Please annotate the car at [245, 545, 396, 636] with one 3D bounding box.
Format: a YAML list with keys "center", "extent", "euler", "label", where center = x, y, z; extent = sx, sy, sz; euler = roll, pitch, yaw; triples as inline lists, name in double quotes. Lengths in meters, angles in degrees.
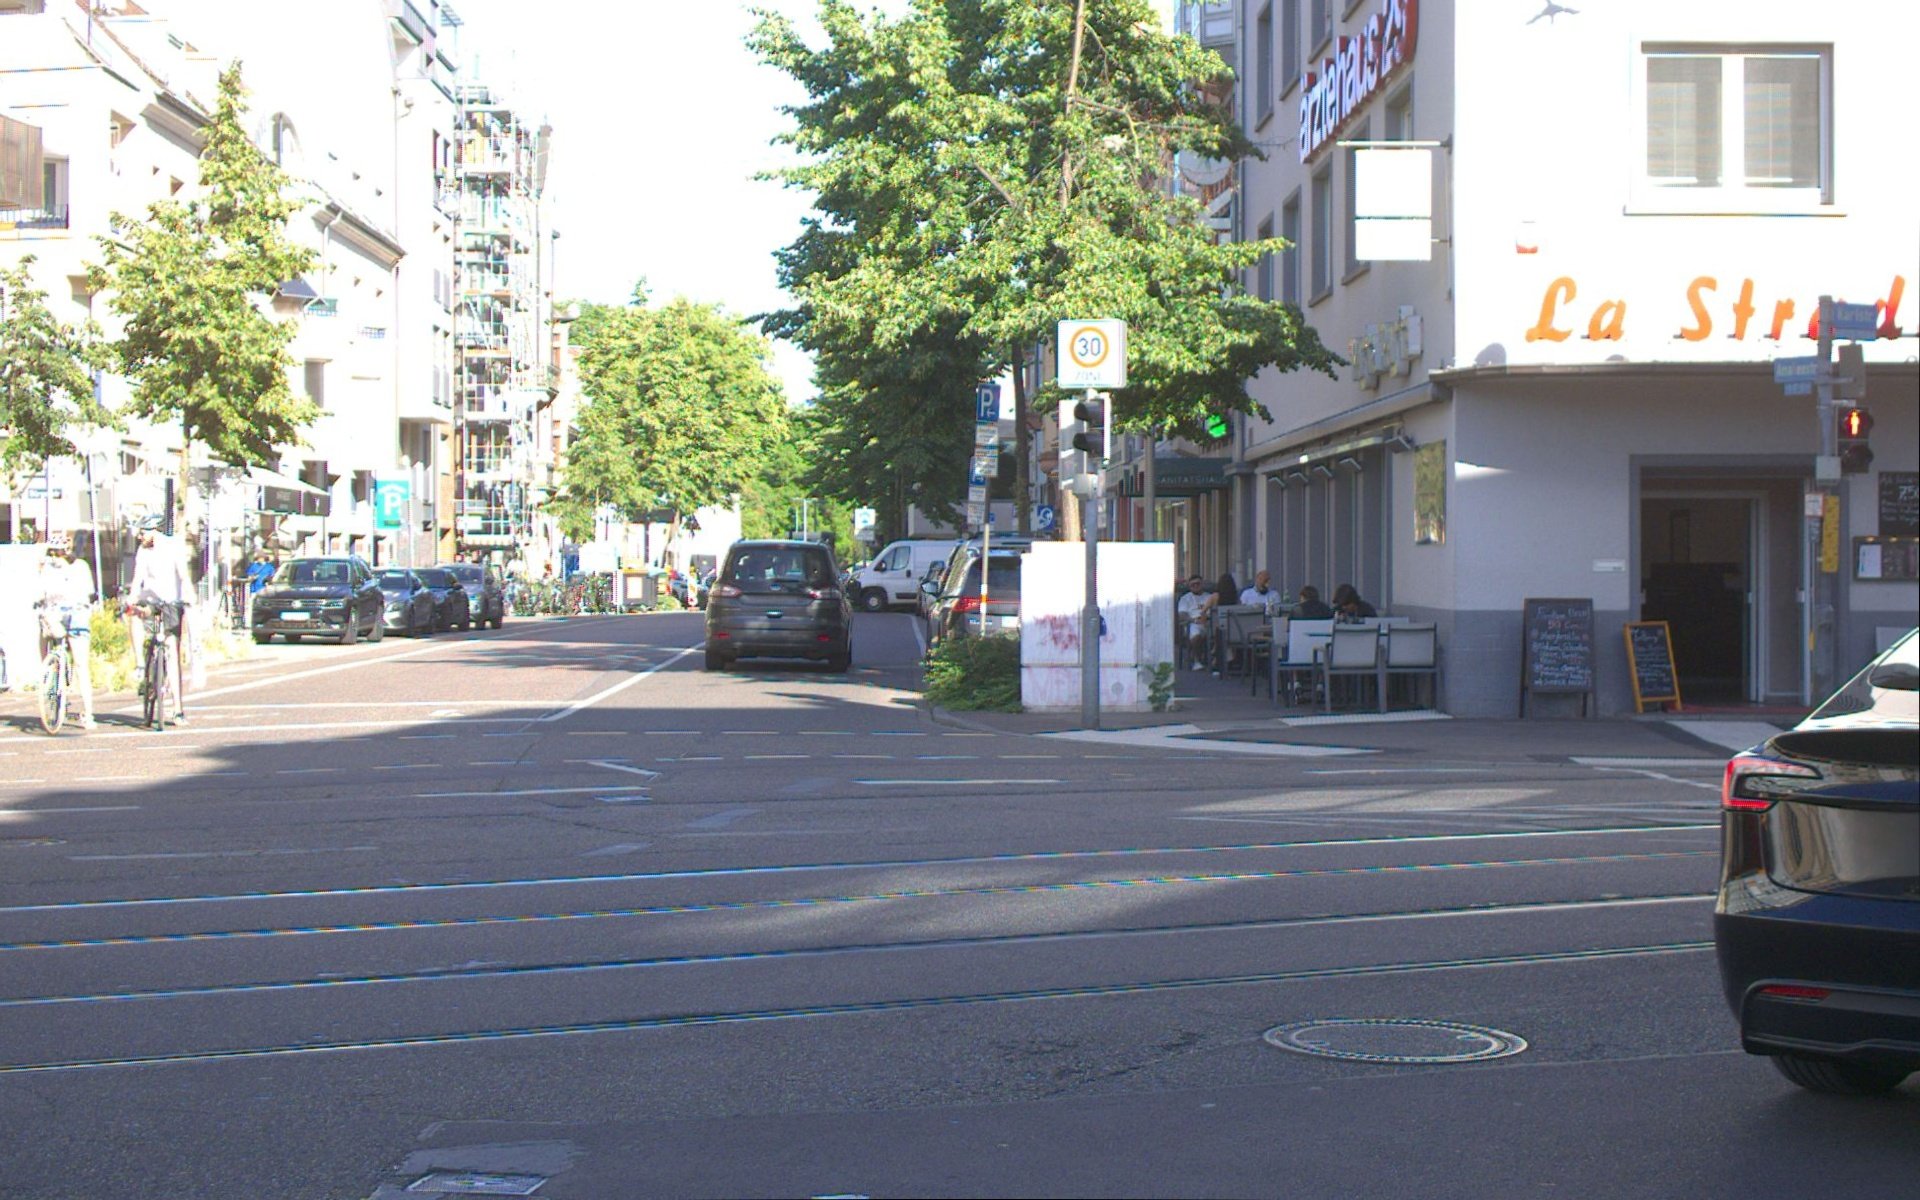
- center: [-11.794, -0.193, 63.624]
  extent: [1.993, 1.592, 4.000]
  euler: [1, 1, 1]
  label: "car"

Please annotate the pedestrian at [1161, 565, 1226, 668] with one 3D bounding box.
- center: [3.087, 0.212, 45.489]
  extent: [0.709, 1.343, 1.060]
  euler: [0, 1, -4]
  label: "pedestrian"

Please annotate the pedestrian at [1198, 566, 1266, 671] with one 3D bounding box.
- center: [3.507, 0.231, 44.383]
  extent: [0.730, 1.343, 1.060]
  euler: [0, 1, -3]
  label: "pedestrian"

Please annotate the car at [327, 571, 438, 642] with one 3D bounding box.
- center: [-11.962, 0.111, 71.389]
  extent: [1.786, 1.398, 3.906]
  euler: [1, 1, -3]
  label: "car"

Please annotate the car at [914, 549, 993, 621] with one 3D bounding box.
- center: [-0.178, -0.409, 90.628]
  extent: [1.993, 1.818, 4.000]
  euler: [1, 1, 0]
  label: "car"

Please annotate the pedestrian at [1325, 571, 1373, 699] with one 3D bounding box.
- center: [4.041, 0.358, 35.670]
  extent: [0.488, 1.317, 0.653]
  euler: [0, 0, 7]
  label: "pedestrian"

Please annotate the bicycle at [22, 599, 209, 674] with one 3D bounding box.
- center: [-11.260, 0.484, 45.894]
  extent: [2.388, 0.974, 0.656]
  euler: [0, 1, -11]
  label: "bicycle"

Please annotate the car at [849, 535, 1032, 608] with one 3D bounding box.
- center: [-0.599, -0.855, 102.259]
  extent: [5.391, 2.138, 2.000]
  euler: [0, 1, -2]
  label: "car"

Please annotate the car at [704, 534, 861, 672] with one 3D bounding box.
- center: [-2.312, 0.012, 45.725]
  extent: [1.904, 1.727, 4.288]
  euler: [1, 1, -1]
  label: "car"

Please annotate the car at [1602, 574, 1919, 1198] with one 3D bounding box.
- center: [3.765, 0.649, 9.515]
  extent: [1.874, 1.422, 4.353]
  euler: [1, 2, 43]
  label: "car"

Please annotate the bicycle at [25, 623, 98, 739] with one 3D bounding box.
- center: [-7.933, 0.699, 30.393]
  extent: [0.552, 0.965, 1.795]
  euler: [0, 1, -12]
  label: "bicycle"

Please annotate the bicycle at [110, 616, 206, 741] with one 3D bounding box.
- center: [-7.058, 0.674, 30.312]
  extent: [0.758, 1.004, 1.726]
  euler: [-3, 1, -12]
  label: "bicycle"

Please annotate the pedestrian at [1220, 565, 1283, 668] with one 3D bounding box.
- center: [3.867, 0.209, 45.655]
  extent: [0.730, 1.356, 0.959]
  euler: [0, 1, -1]
  label: "pedestrian"

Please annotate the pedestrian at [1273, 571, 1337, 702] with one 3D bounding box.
- center: [3.500, 0.366, 34.886]
  extent: [0.586, 1.308, 0.560]
  euler: [0, 0, -1]
  label: "pedestrian"

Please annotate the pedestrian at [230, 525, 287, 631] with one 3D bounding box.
- center: [-13.776, -0.433, 67.474]
  extent: [0.951, 2.006, 1.090]
  euler: [-3, 1, -14]
  label: "pedestrian"

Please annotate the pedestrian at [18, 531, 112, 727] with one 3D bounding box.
- center: [-7.953, 0.254, 30.545]
  extent: [0.778, 1.722, 0.559]
  euler: [1, 1, -15]
  label: "pedestrian"

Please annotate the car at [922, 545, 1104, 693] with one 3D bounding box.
- center: [0.567, 0.179, 40.540]
  extent: [2.001, 1.630, 4.288]
  euler: [1, 1, -1]
  label: "car"

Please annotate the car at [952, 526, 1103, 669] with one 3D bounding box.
- center: [0.874, -0.064, 46.969]
  extent: [1.904, 1.846, 4.288]
  euler: [1, 1, -1]
  label: "car"

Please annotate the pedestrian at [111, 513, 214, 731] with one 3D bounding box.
- center: [-7.051, 0.177, 30.361]
  extent: [0.778, 1.860, 1.002]
  euler: [-2, 2, -15]
  label: "pedestrian"

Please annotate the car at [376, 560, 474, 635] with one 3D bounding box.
- center: [-11.870, -0.072, 76.437]
  extent: [1.718, 1.604, 3.597]
  euler: [0, 1, -1]
  label: "car"

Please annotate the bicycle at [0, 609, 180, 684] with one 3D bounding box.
- center: [-11.340, 0.602, 44.571]
  extent: [2.396, 0.955, 0.545]
  euler: [0, 1, -13]
  label: "bicycle"

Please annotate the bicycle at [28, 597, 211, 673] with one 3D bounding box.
- center: [-11.411, 0.471, 46.727]
  extent: [2.396, 1.002, 0.656]
  euler: [0, 1, -11]
  label: "bicycle"

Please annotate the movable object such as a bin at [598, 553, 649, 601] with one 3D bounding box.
- center: [-9.984, -0.696, 101.944]
  extent: [1.308, 1.403, 1.071]
  euler: [0, 1, -18]
  label: "movable object such as a bin"

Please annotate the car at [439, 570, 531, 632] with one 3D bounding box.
- center: [-11.204, 0.004, 81.295]
  extent: [1.786, 1.398, 3.906]
  euler: [1, 1, -3]
  label: "car"

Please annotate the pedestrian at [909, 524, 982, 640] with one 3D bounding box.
- center: [-0.235, -0.304, 56.999]
  extent: [0.958, 1.909, 1.104]
  euler: [0, 1, 15]
  label: "pedestrian"
